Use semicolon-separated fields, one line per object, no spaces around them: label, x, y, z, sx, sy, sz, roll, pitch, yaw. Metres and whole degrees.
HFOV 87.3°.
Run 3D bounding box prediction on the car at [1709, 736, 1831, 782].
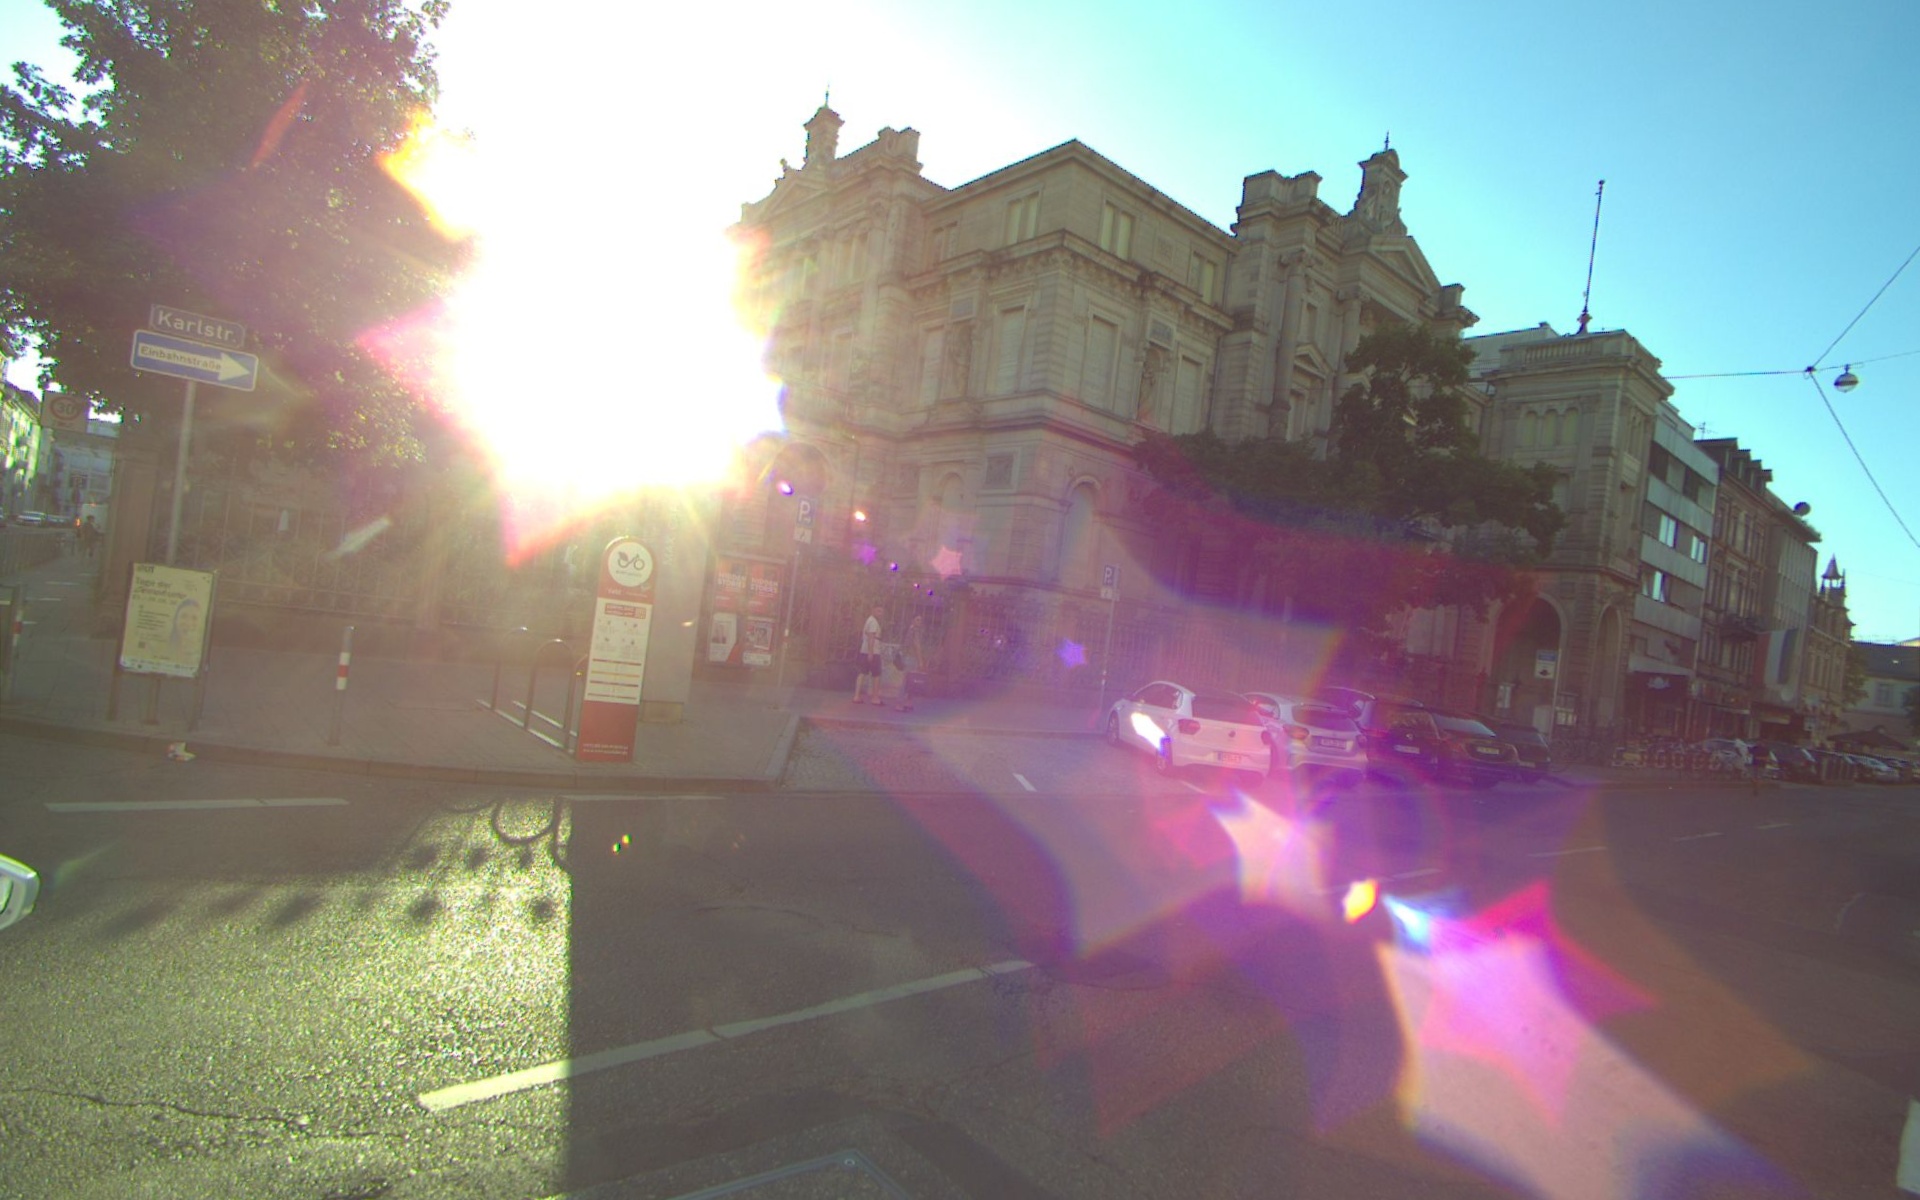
car;36.649;7.185;45.599;1.743;1.428;3.958;9;-3;-39

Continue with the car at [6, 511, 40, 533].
car;-90.308;-7.525;97.006;1.986;1.703;3.958;9;-3;-39

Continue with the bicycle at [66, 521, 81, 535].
bicycle;-94.368;-7.654;107.047;0.971;1.294;2.725;9;-3;-39

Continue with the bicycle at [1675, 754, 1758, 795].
bicycle;27.747;6.389;36.940;0.712;1.102;2.274;9;-3;-43

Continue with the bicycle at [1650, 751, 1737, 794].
bicycle;25.521;5.998;35.032;0.712;1.102;2.274;9;-3;-43

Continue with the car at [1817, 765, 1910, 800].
car;55.423;11.175;61.760;1.743;1.428;3.958;9;-3;-39

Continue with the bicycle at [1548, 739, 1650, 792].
bicycle;18.103;4.689;28.543;0.712;1.102;2.274;9;-3;-43

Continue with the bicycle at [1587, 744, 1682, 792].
bicycle;20.809;5.175;31.074;0.712;1.102;2.274;9;-3;-43

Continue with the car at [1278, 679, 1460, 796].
car;8.290;2.726;20.804;1.724;1.741;3.999;7;-1;-4

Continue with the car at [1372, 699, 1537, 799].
car;10.719;3.168;22.141;1.722;1.626;4.006;7;-3;4

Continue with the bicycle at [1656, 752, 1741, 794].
bicycle;26.131;6.110;35.637;0.712;1.102;2.274;9;-3;-43

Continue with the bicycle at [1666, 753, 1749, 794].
bicycle;27.014;6.264;36.387;0.712;1.102;2.274;9;-3;-43

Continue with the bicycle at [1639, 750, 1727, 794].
bicycle;24.564;5.830;34.215;0.712;1.102;2.274;9;-3;-43

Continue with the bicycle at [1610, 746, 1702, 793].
bicycle;22.367;5.446;32.358;0.712;1.102;2.274;9;-3;-43

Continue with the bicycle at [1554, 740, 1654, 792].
bicycle;18.674;4.799;29.211;0.712;1.102;2.274;9;-3;-43

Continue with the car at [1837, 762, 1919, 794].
car;62.334;12.087;68.282;1.743;1.428;3.958;9;-3;-39

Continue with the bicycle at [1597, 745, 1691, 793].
bicycle;21.511;5.298;31.663;0.712;1.102;2.274;9;-3;-43

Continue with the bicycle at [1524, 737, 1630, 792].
bicycle;16.675;4.434;27.233;0.712;1.102;2.274;9;-3;-43

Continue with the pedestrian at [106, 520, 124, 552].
pedestrian;-46.966;-3.574;55.913;0.659;1.687;0.617;6;0;-40

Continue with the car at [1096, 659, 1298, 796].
car;3.876;2.067;17.216;1.727;1.465;3.898;8;2;-12

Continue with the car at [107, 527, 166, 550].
car;-74.291;-5.526;90.772;3.973;1.436;1.639;10;-3;-40

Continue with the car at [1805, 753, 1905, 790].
car;52.813;10.094;59.444;1.732;1.428;3.984;8;-3;-21

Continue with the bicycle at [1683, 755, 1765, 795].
bicycle;28.526;6.524;37.582;0.712;1.102;2.274;9;-3;-43

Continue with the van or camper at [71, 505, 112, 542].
van or camper;-69.577;-6.076;80.634;2.246;2.641;5.058;3;1;-39

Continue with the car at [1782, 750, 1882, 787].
car;50.435;9.723;58.288;1.732;1.428;3.984;8;-3;-21

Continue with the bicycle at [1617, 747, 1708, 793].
bicycle;22.971;5.556;32.951;0.712;1.102;2.274;9;-3;-43

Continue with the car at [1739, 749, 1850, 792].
car;41.836;8.526;50.520;1.743;1.428;3.958;9;-3;-39

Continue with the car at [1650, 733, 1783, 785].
car;30.810;6.448;41.050;1.743;1.428;3.958;9;-3;-39

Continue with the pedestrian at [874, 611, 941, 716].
pedestrian;-0.905;1.103;17.387;0.632;1.690;0.703;8;0;36

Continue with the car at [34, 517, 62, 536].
car;-103.826;-8.373;114.528;1.986;1.703;3.958;9;-3;-39

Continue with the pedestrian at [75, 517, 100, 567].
pedestrian;-30.677;-2.048;35.374;0.610;1.679;0.483;6;0;43

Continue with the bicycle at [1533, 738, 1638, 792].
bicycle;17.264;4.541;27.811;0.712;1.102;2.274;9;-3;-43

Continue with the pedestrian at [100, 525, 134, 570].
pedestrian;-29.894;-1.857;35.676;0.611;1.518;0.747;6;0;45

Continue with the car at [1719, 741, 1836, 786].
car;38.888;7.772;47.917;1.743;1.428;3.958;9;-3;-39

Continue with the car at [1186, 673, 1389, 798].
car;6.009;2.445;18.995;1.727;1.544;3.989;8;0;-12

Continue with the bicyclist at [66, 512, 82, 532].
bicyclist;-94.191;-8.281;106.960;0.986;1.890;0.701;8;-2;-39

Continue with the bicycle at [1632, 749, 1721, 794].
bicycle;23.916;5.715;33.622;0.712;1.102;2.274;9;-3;-43

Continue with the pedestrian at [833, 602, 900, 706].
pedestrian;-1.636;0.948;17.546;0.632;1.690;0.703;8;0;36

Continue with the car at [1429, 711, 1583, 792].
car;13.425;3.683;25.010;1.722;1.428;4.006;7;-3;4

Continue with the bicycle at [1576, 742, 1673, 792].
bicycle;20.110;5.053;30.489;0.712;1.102;2.274;9;-3;-43

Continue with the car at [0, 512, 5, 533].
car;-68.731;-5.614;70.799;1.877;1.469;3.955;9;-2;-41

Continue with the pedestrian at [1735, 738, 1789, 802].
pedestrian;24.676;5.231;30.951;0.995;1.770;0.964;8;-2;-38

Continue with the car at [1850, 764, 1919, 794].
car;64.792;12.459;70.020;1.743;1.428;3.958;9;-3;-39

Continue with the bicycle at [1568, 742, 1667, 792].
bicycle;19.453;4.933;29.822;0.712;1.102;2.274;9;-3;-43
